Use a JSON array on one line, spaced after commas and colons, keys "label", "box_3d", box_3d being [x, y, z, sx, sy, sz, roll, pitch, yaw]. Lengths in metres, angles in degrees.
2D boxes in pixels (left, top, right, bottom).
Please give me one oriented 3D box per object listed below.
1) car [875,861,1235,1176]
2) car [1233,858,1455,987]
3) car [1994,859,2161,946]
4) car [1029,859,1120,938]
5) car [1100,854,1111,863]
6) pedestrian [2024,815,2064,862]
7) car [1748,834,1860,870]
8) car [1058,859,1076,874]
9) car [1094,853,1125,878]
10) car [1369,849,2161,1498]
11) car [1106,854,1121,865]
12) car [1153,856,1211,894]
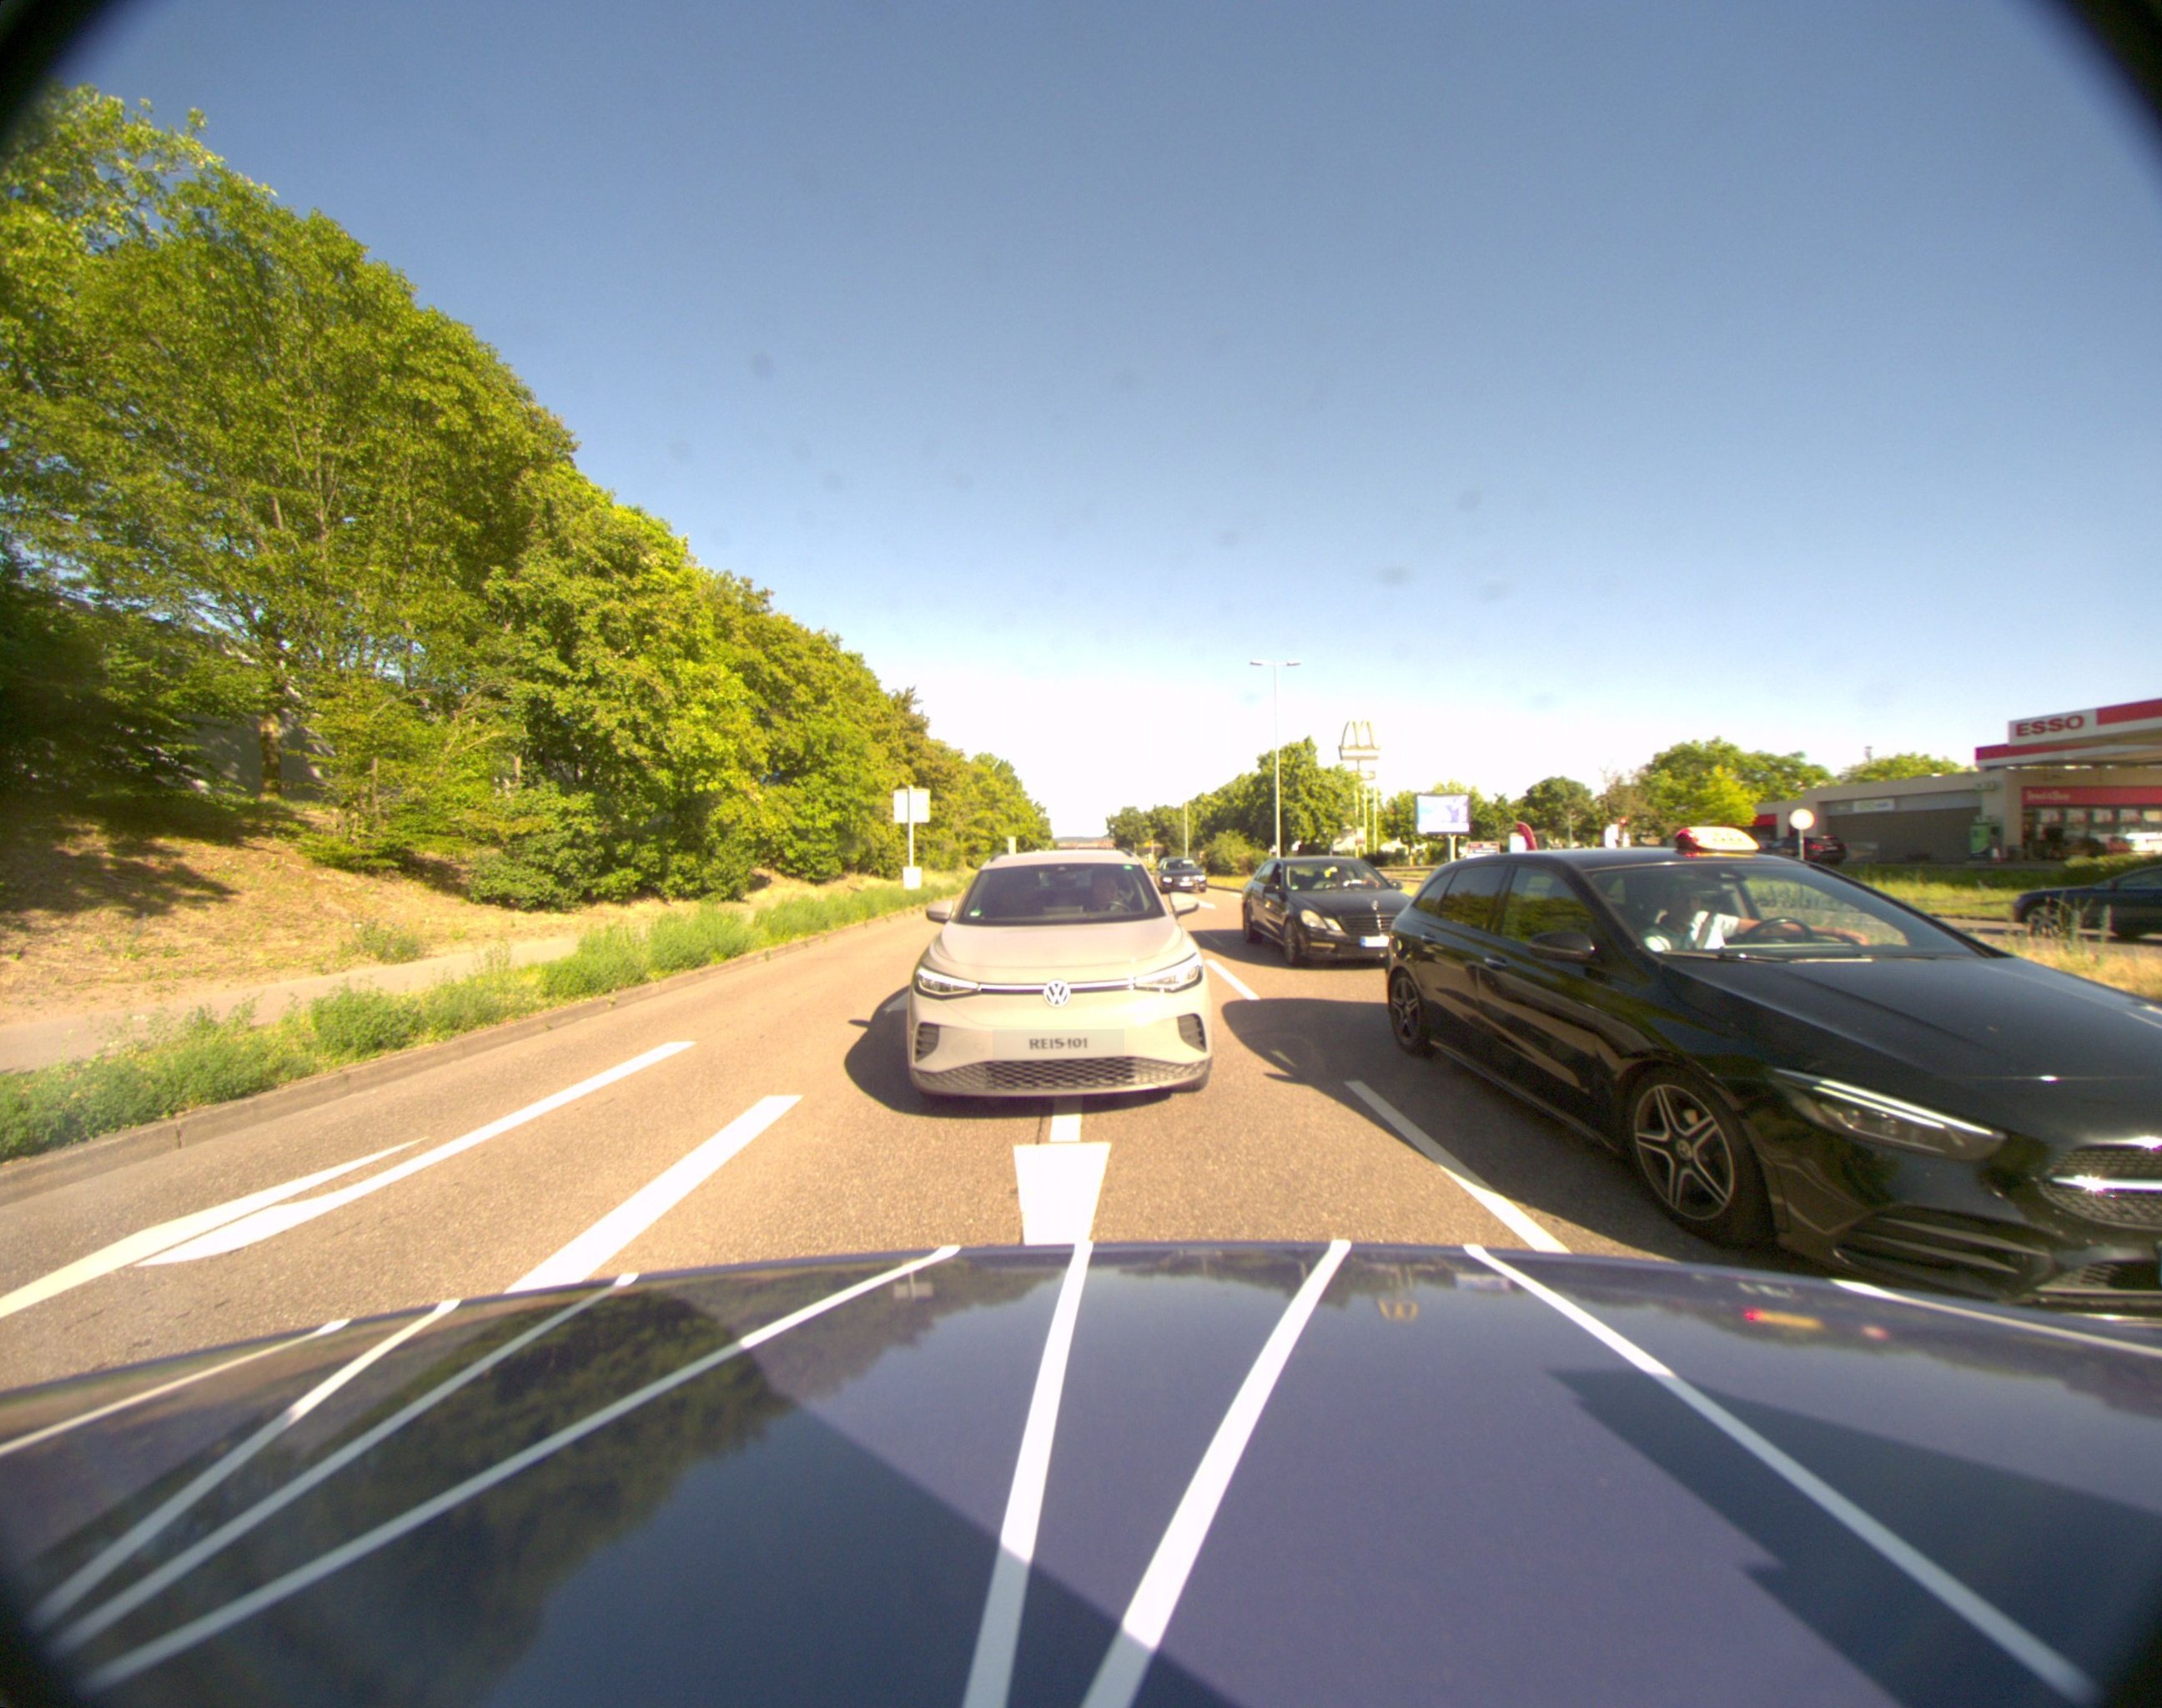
[{"label": "car", "box_3d": [-0.114, 0.899, 6.009, 1.871, 1.588, 3.932, -2, 0, 1]}, {"label": "car", "box_3d": [3.650, 0.850, 11.482, 1.862, 1.515, 4.403, -1, 0, 1]}, {"label": "car", "box_3d": [19.231, 0.857, 12.880, 1.908, 1.437, 4.607, 1, 0, -1]}, {"label": "car", "box_3d": [-0.110, 0.899, 16.984, 1.765, 1.503, 3.760, -2, 0, 1]}, {"label": "car", "box_3d": [4.516, 0.730, 138.295, 1.862, 1.578, 4.403, -1, 0, 1]}, {"label": "pedestrian", "box_3d": [42.285, -0.676, 33.368, 0.703, 2.002, 0.840, -1, 0, 1]}, {"label": "car", "box_3d": [37.655, -0.110, 39.734, 1.998, 1.759, 4.118, -1, 0, 2]}, {"label": "car", "box_3d": [-1.517, 1.332, 83.535, 1.862, 1.578, 4.403, -1, 0, 1]}, {"label": "car", "box_3d": [2.205, 0.893, 60.603, 2.289, 1.863, 5.268, -1, 0, 1]}, {"label": "car", "box_3d": [3.169, 0.809, 3.994, 1.804, 1.616, 4.188, -1, 0, 2]}, {"label": "car", "box_3d": [4.578, 0.757, 107.754, 1.862, 1.578, 4.403, -1, 0, 1]}, {"label": "car", "box_3d": [4.163, 0.826, 31.936, 1.862, 1.472, 4.403, -1, 0, 1]}]
